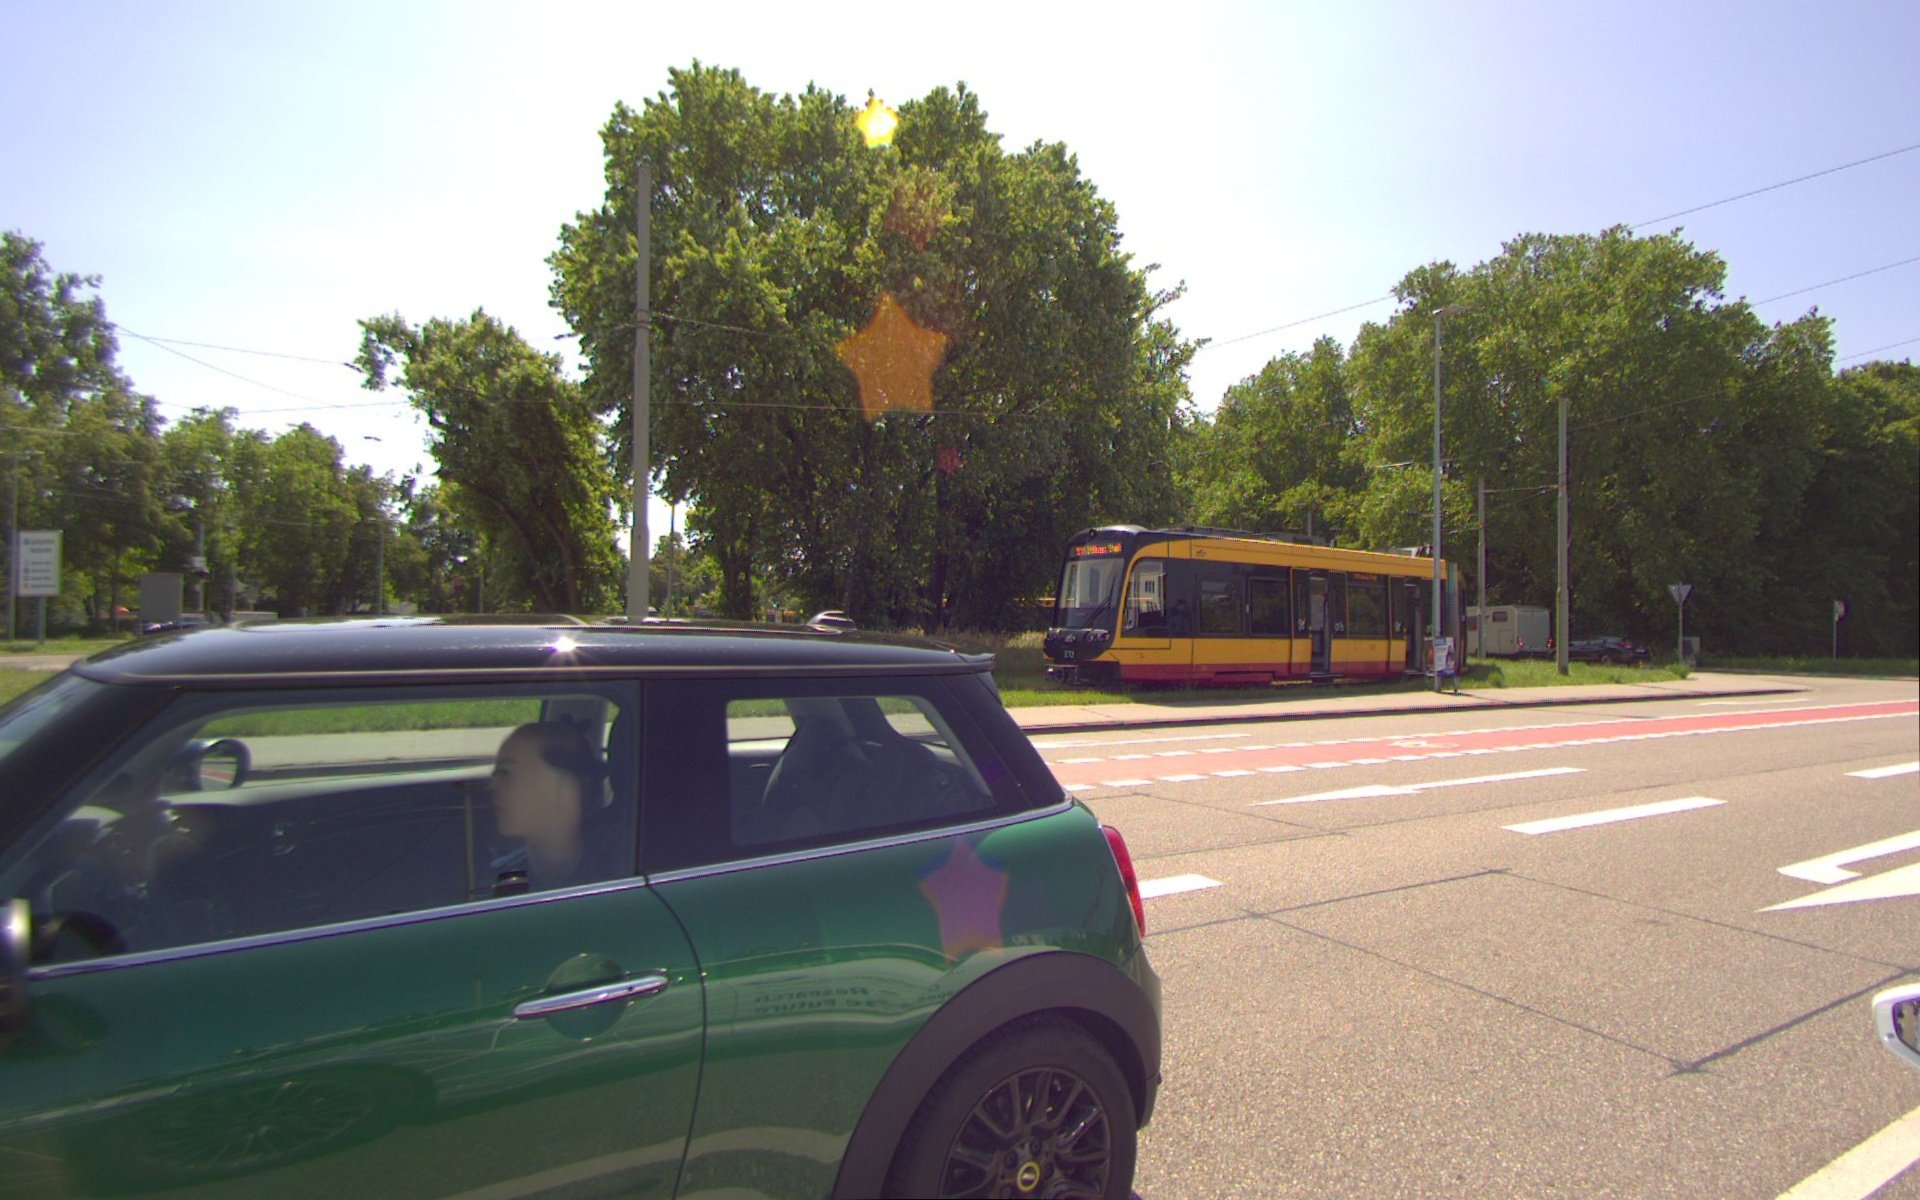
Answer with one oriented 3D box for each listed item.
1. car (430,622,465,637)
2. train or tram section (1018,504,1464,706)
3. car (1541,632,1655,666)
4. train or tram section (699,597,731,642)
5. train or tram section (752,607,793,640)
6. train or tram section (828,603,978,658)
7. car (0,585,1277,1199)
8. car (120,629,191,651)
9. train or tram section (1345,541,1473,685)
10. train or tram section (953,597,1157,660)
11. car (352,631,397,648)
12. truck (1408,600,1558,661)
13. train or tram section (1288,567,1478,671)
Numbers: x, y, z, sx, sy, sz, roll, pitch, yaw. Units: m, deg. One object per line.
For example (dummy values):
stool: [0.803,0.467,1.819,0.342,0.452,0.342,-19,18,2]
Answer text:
car: [-49.130,2.812,96.384,1.574,1.303,3.645,-2,-1,-1]
train or tram section: [7.287,0.270,24.015,12.870,3.808,2.995,1,-3,-37]
car: [29.280,2.236,46.254,1.642,1.435,4.293,3,-2,-21]
train or tram section: [-25.039,2.090,102.924,2.974,4.310,12.721,0,-2,-13]
train or tram section: [-26.135,3.416,140.646,2.966,4.310,12.756,0,-2,2]
train or tram section: [-4.283,2.287,73.139,11.243,3.808,3.019,-2,-3,32]
car: [-1.381,0.730,2.114,3.943,1.482,1.715,1,-1,-30]
car: [-50.390,2.483,63.000,1.574,1.303,3.645,-2,-1,-1]
train or tram section: [14.783,0.567,32.471,2.971,3.808,11.602,-1,-3,28]
train or tram section: [5.936,1.971,66.082,13.971,3.808,3.014,-2,-3,38]
car: [-48.184,3.200,82.754,1.574,1.303,3.645,-2,-1,-1]
truck: [27.301,1.621,52.866,2.528,2.948,7.311,2,-2,-19]
train or tram section: [17.887,0.987,44.066,2.965,3.808,14.056,0,-2,3]
